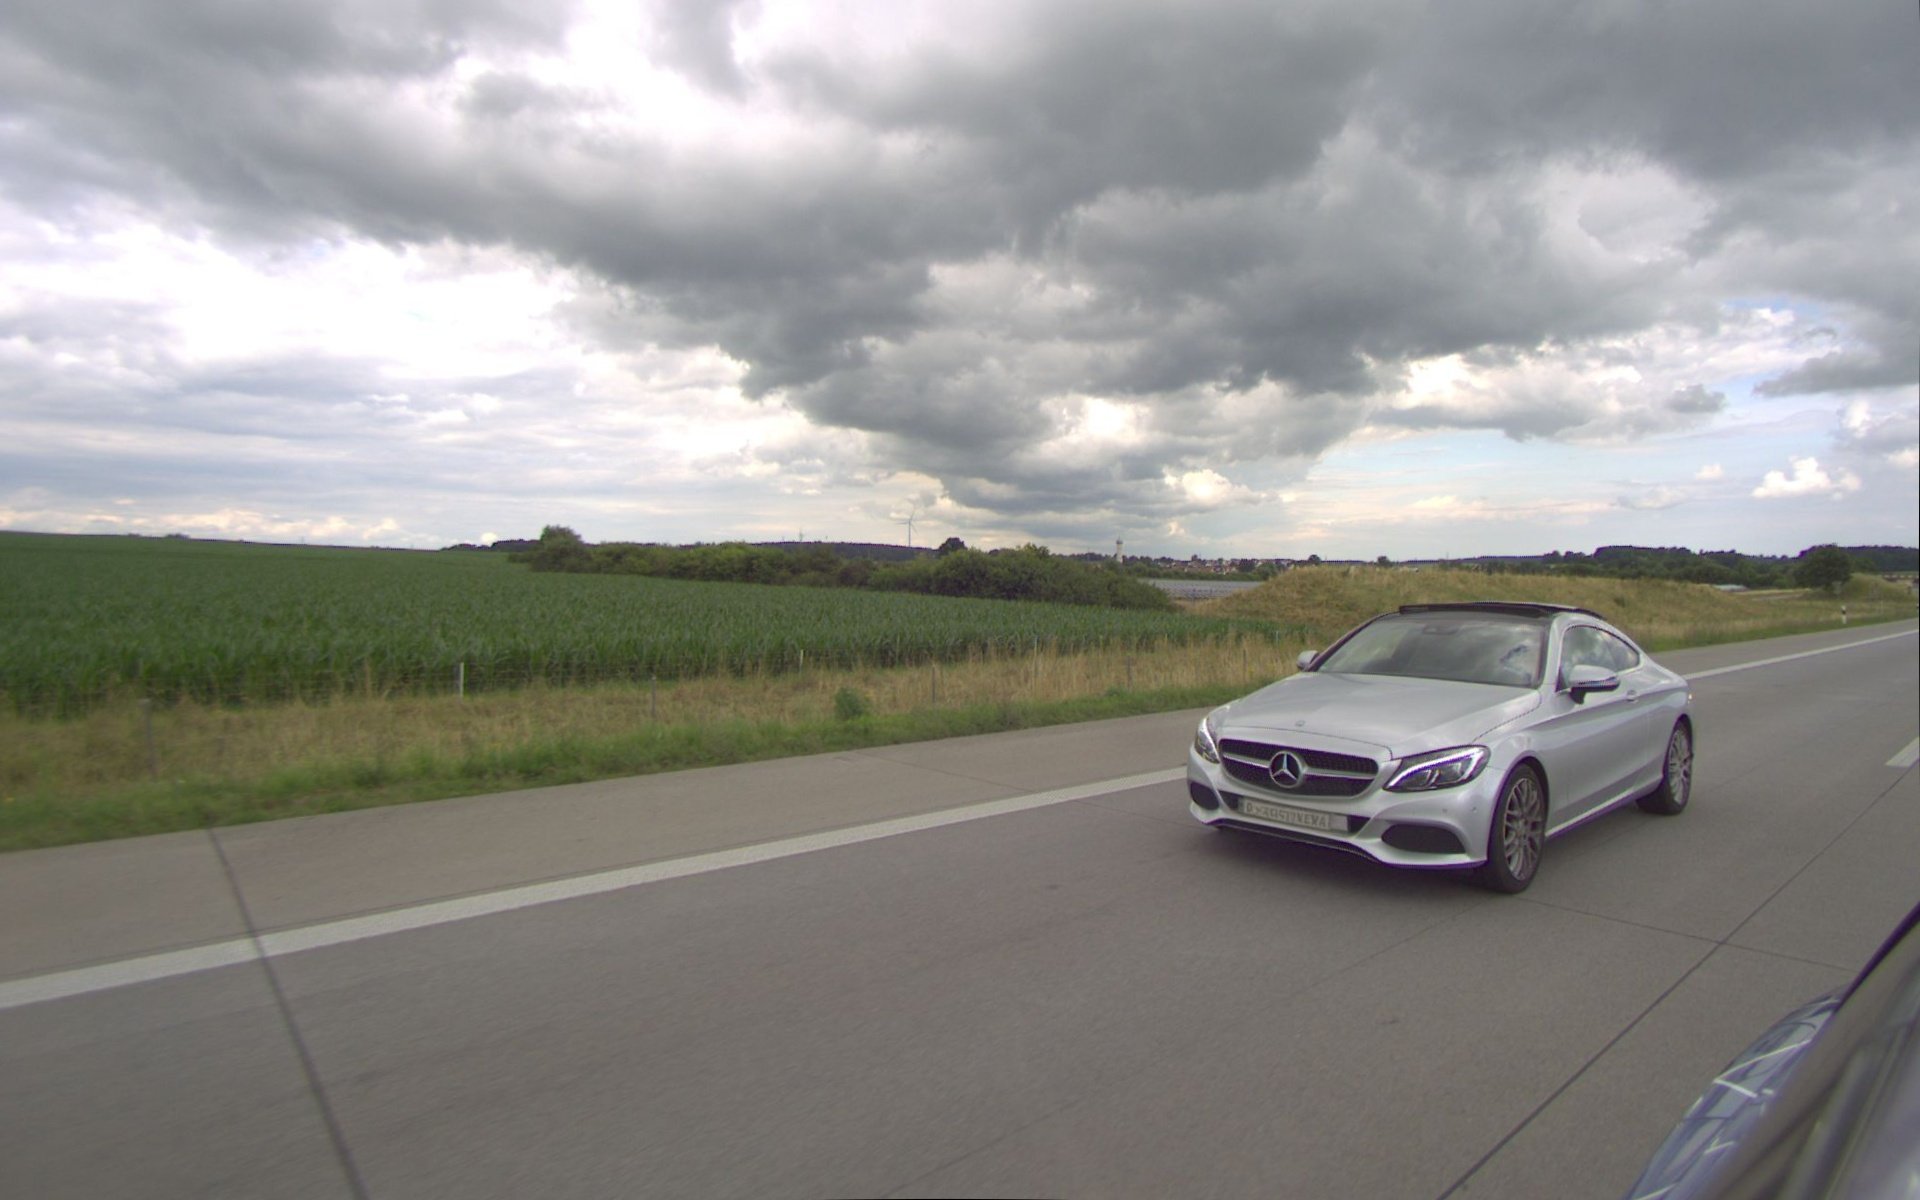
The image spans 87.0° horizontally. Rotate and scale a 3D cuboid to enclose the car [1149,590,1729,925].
[{"bbox_3d":[3.222,0.663,6.413,4.147,1.421,1.792,-1,1,-40],"label":"car"}]
